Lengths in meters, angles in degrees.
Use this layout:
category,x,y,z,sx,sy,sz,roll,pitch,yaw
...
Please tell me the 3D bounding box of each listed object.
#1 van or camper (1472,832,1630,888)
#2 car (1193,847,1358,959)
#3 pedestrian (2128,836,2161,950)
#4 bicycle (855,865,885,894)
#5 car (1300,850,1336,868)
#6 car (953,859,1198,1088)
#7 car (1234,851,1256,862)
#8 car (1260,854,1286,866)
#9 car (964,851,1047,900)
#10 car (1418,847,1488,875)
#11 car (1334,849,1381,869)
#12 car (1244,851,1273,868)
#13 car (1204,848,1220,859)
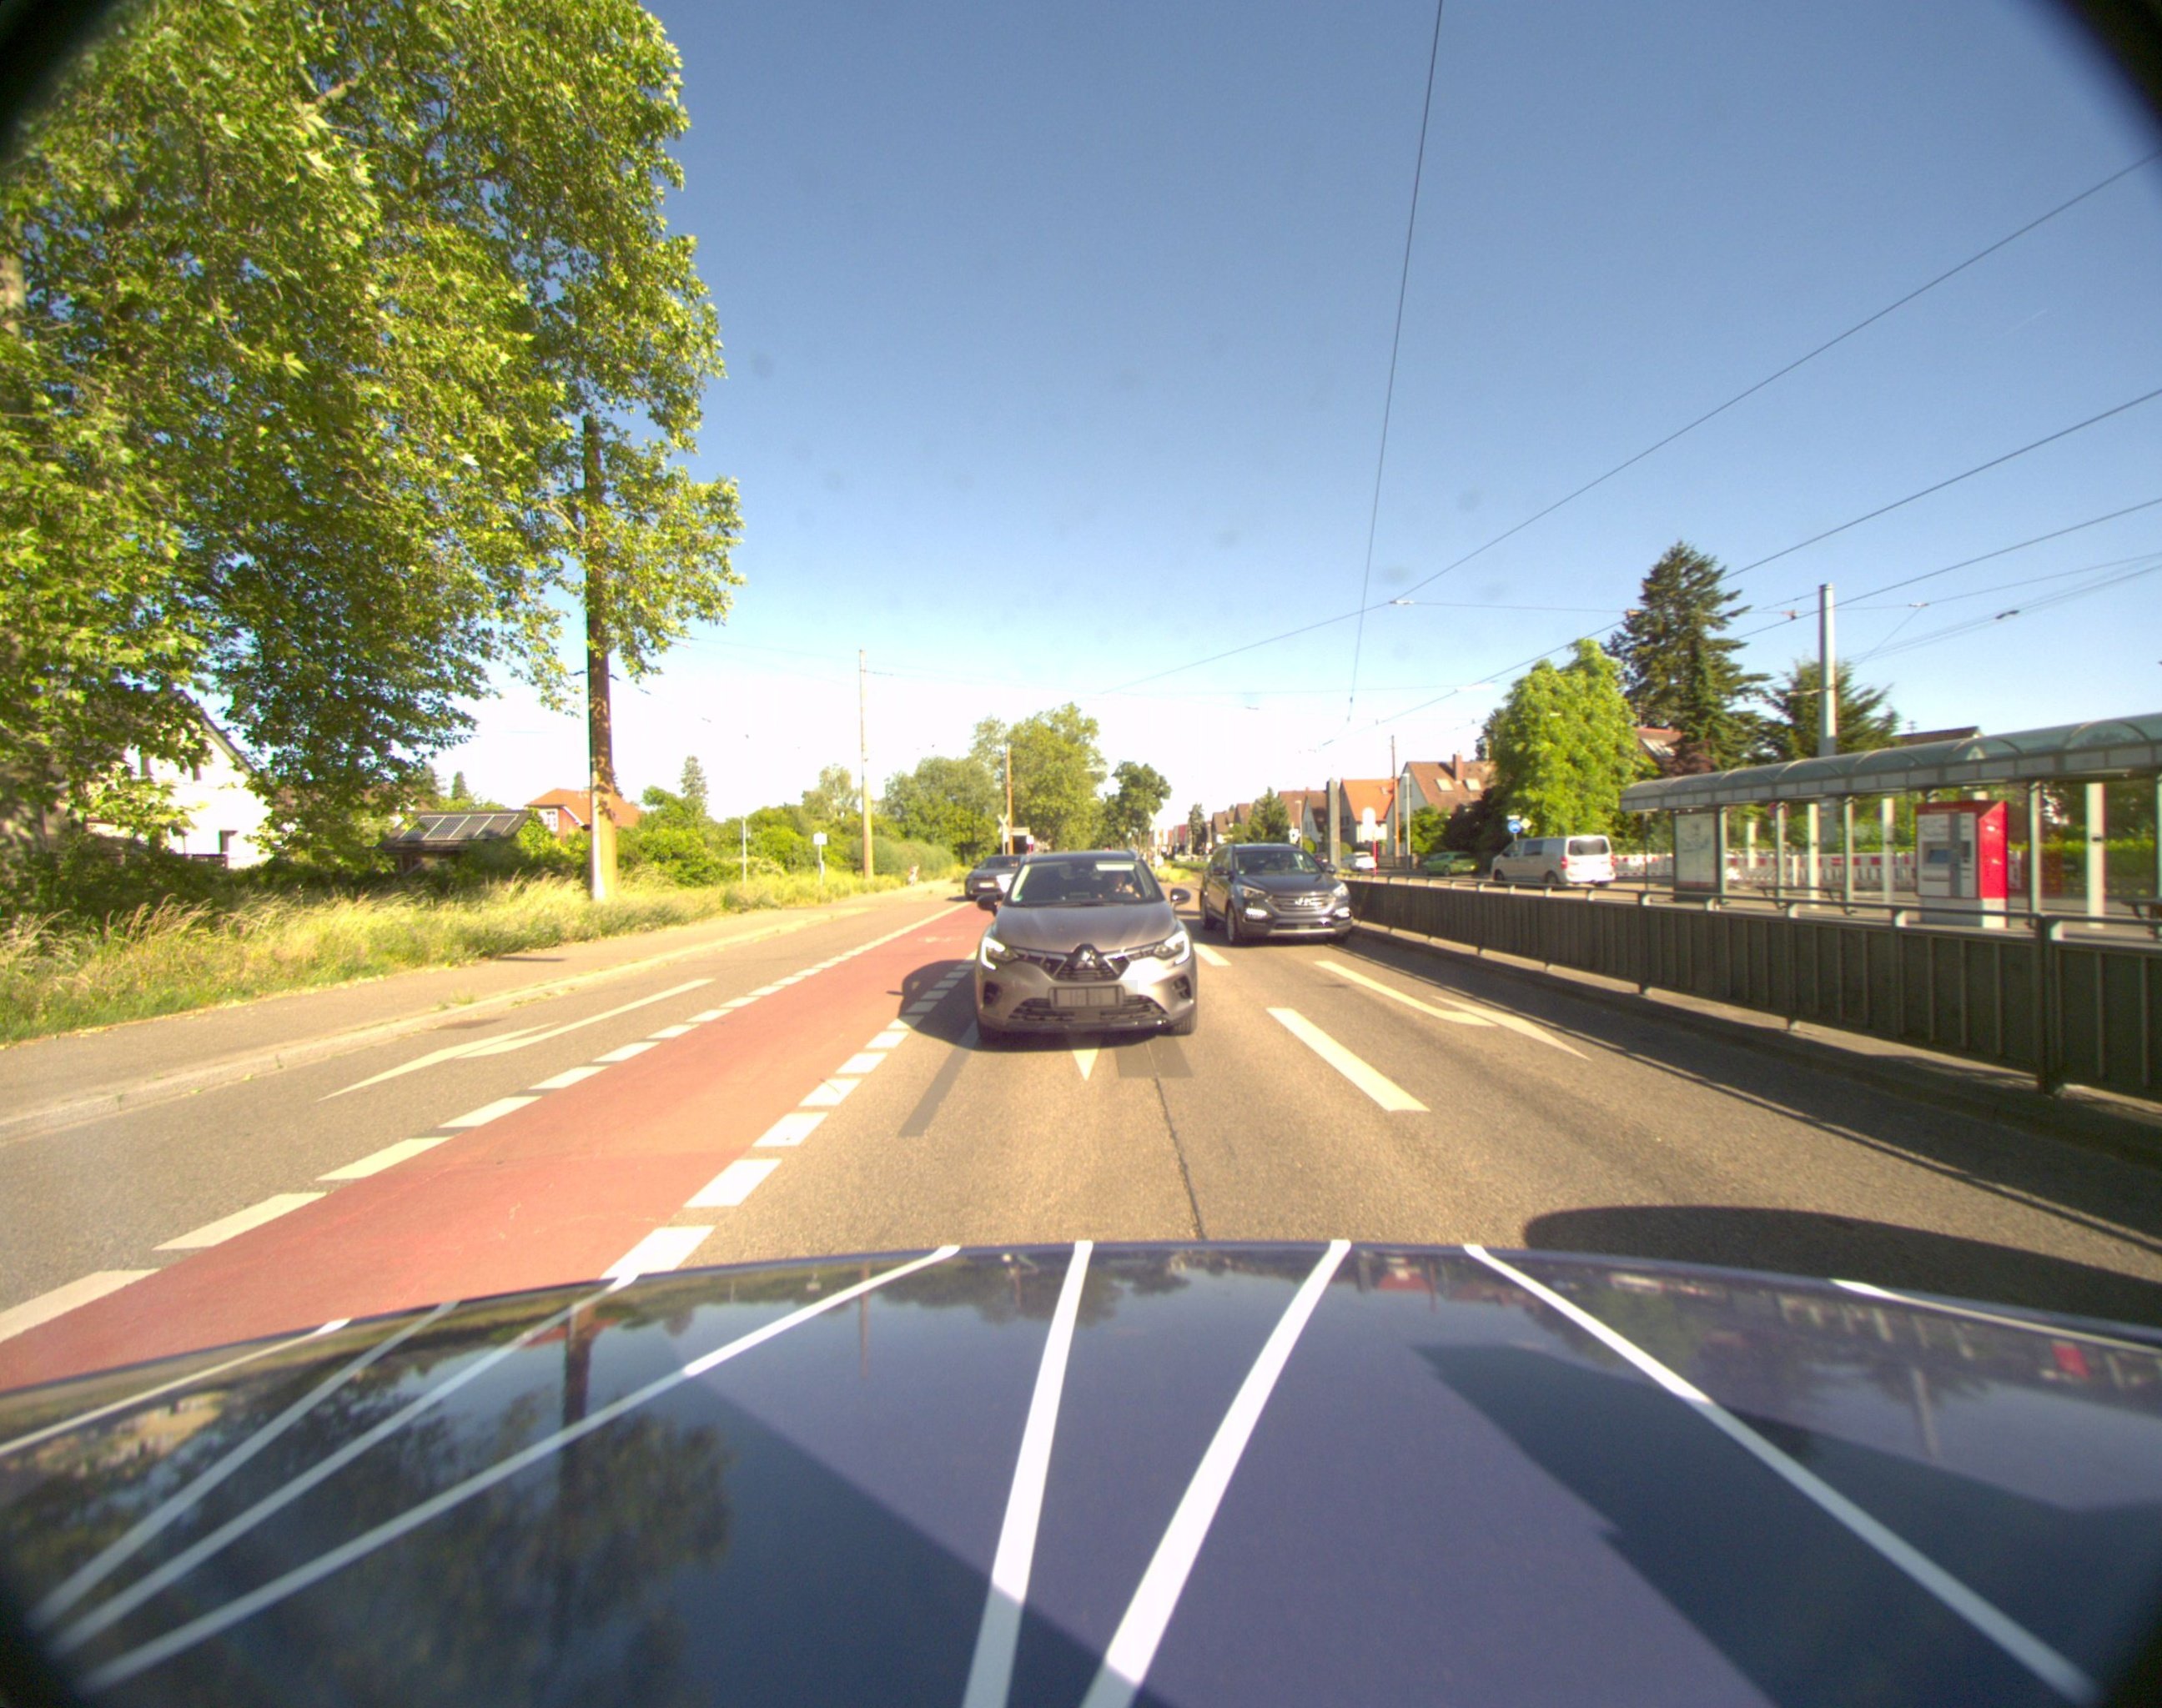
category,x,y,z,sx,sy,sz,roll,pitch,yaw
van or camper,17.101,0.244,28.139,1.999,1.817,5.987,-1,-1,-1
car,3.166,0.718,13.285,1.780,1.620,4.288,-1,0,0
pedestrian,14.222,0.490,9.428,1.063,1.444,1.007,-1,1,0
bicycle,-8.528,1.024,30.657,0.367,1.128,2.090,-1,0,-38
car,21.608,0.400,69.385,1.912,1.457,4.440,-3,1,0
car,-0.054,0.848,7.101,1.673,1.529,3.586,-2,0,-1
car,22.047,0.329,102.362,1.888,1.464,4.838,-3,0,1
car,22.143,0.661,87.911,1.998,1.363,4.310,-2,0,1
car,-2.623,0.731,27.584,1.769,1.621,4.502,-1,0,11
car,21.871,0.372,44.829,1.999,1.492,4.067,-3,1,-2
car,21.707,0.373,59.764,1.888,1.464,4.613,-3,1,-1
car,16.923,0.501,72.759,1.740,1.511,4.344,-1,0,0
car,22.054,-0.108,127.964,1.998,1.852,4.584,-2,0,1
